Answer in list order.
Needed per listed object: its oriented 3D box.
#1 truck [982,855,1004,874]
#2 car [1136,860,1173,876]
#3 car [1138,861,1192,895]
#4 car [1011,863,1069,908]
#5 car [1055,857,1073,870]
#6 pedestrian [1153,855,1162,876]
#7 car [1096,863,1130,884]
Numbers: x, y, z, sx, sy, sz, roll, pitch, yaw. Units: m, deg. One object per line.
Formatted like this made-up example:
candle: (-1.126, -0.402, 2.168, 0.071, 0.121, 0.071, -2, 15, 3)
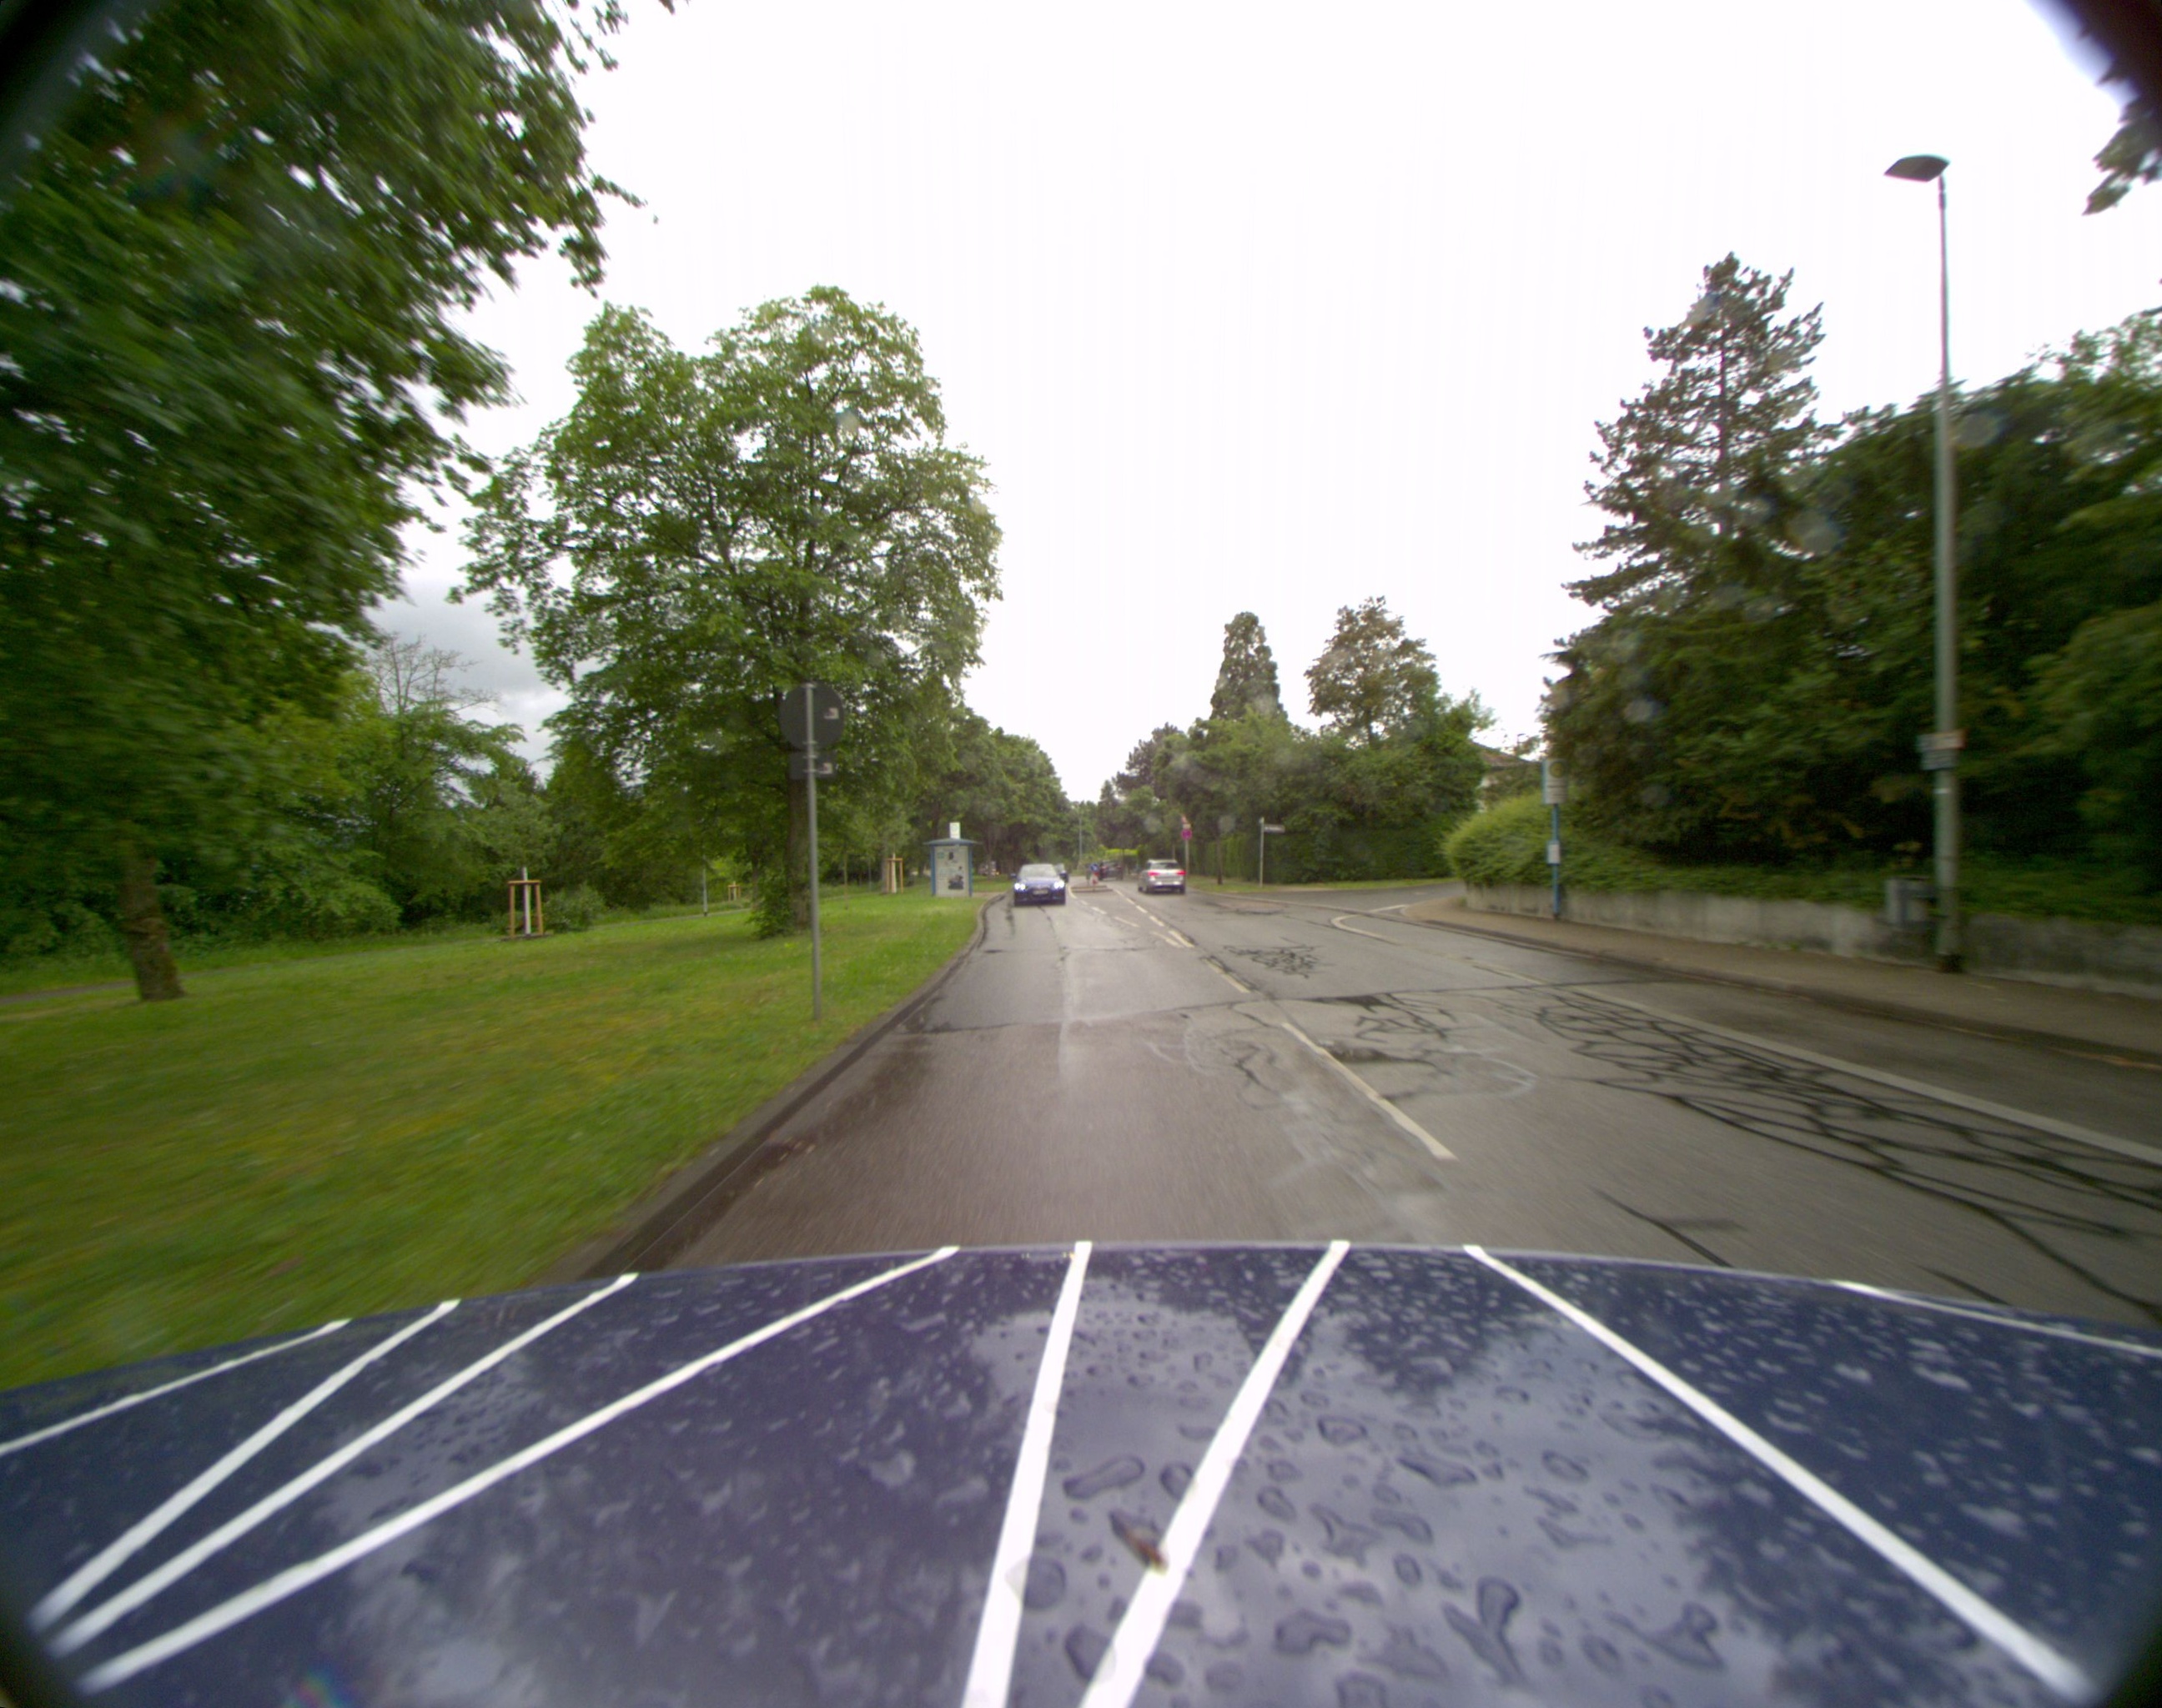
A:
truck: (-14.970, 1.801, 129.149, 2.150, 3.027, 5.158, -2, 0, -25)
car: (8.398, 1.613, 86.929, 3.863, 1.577, 1.817, -2, 0, -6)
car: (3.652, 1.028, 33.905, 1.795, 1.414, 4.358, 1, 0, -2)
car: (-1.455, 1.130, 28.449, 1.839, 1.501, 4.000, -2, 0, 1)
car: (-2.775, 1.535, 123.870, 2.001, 2.077, 3.995, -2, 0, -15)
pedestrian: (6.601, 1.018, 65.838, 0.713, 1.820, 0.881, -2, 0, 3)
car: (2.516, 1.500, 60.767, 2.000, 1.567, 3.998, -2, 0, -7)
